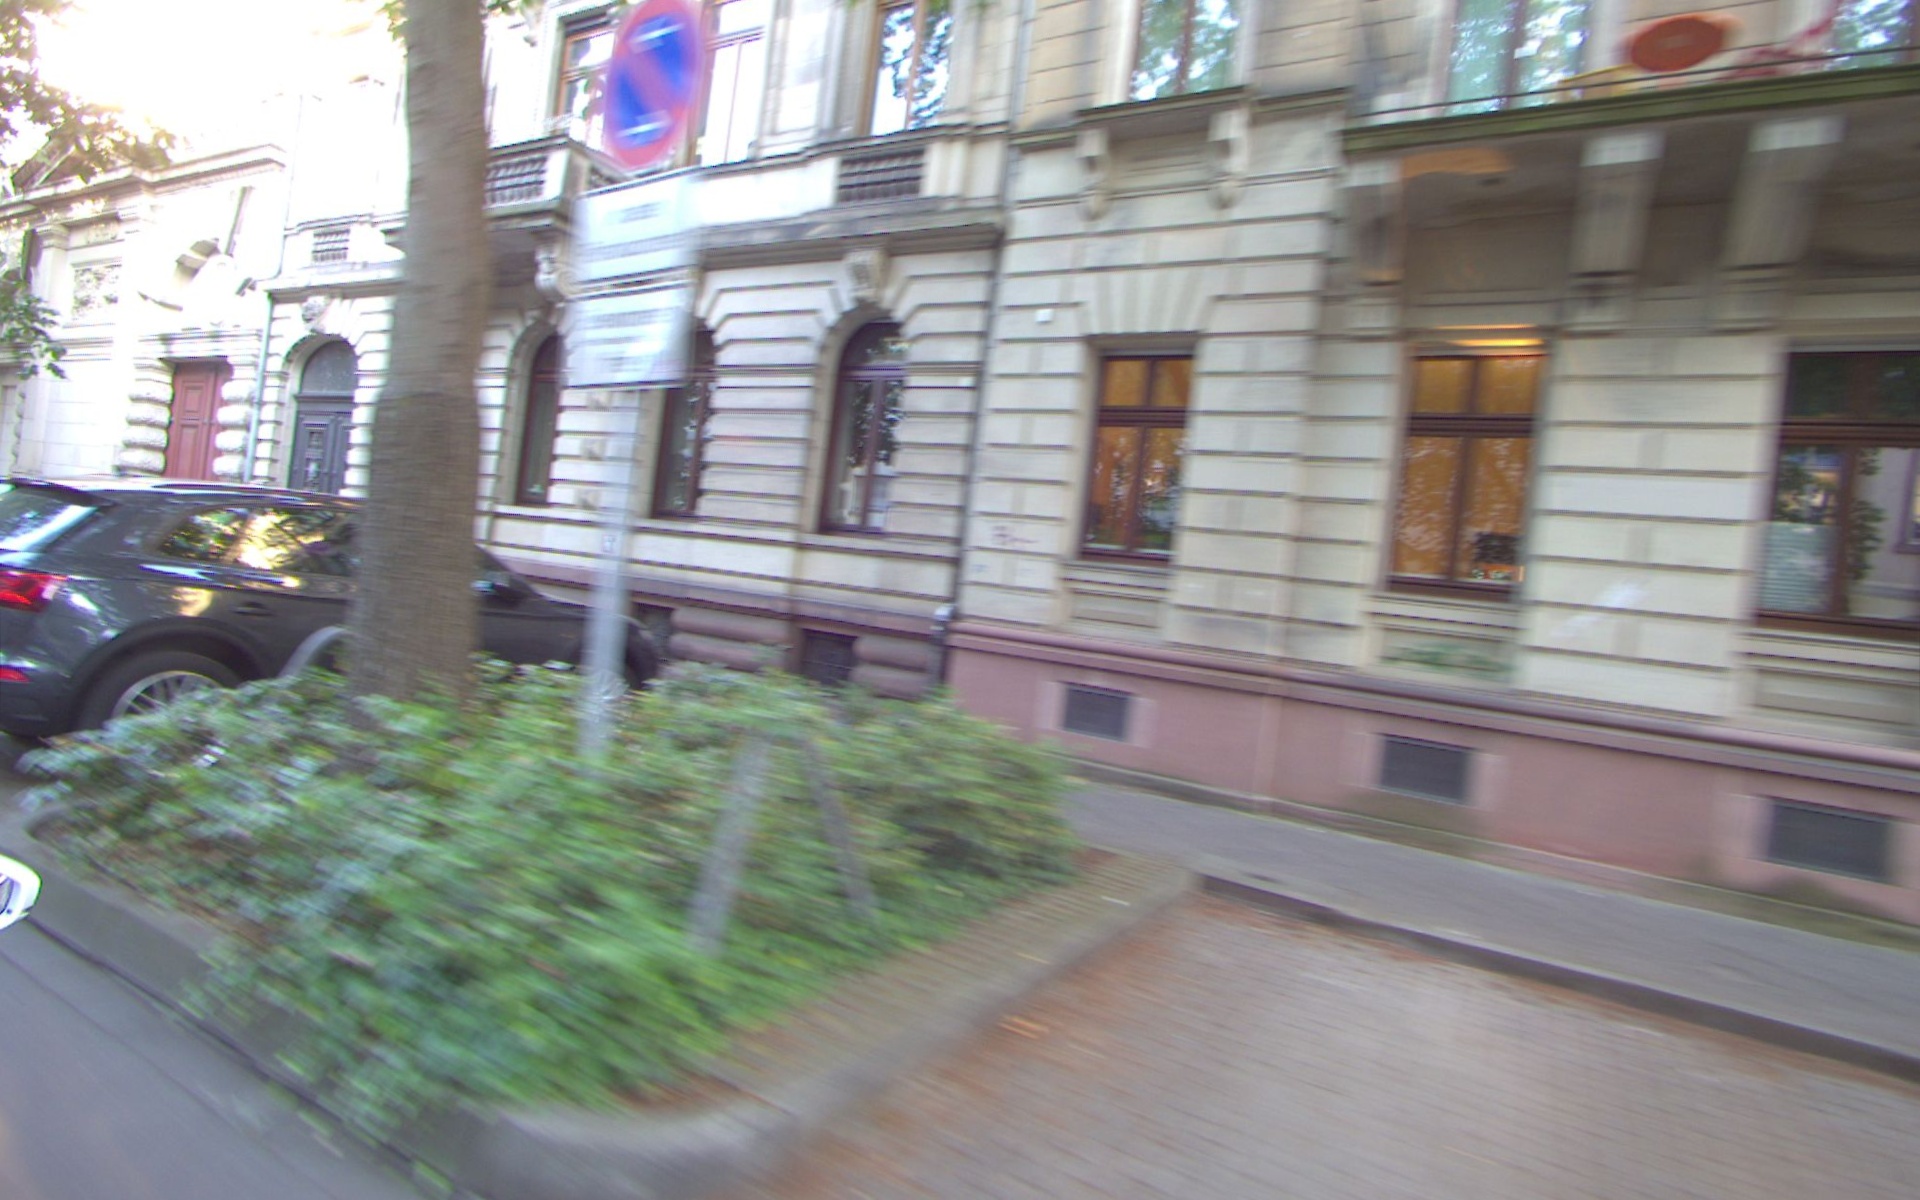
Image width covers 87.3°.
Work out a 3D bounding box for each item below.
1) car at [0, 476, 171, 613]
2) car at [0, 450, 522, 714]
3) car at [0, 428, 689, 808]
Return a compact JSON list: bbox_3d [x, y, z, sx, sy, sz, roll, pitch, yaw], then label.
[{"bbox_3d":[-11.854,-0.753,11.350,1.823,1.500,4.227,7,2,30],"label":"car"},{"bbox_3d":[-6.082,-0.078,8.468,1.735,1.707,4.015,8,0,30],"label":"car"},{"bbox_3d":[-4.228,0.125,6.825,1.935,1.739,4.446,6,0,30],"label":"car"}]
